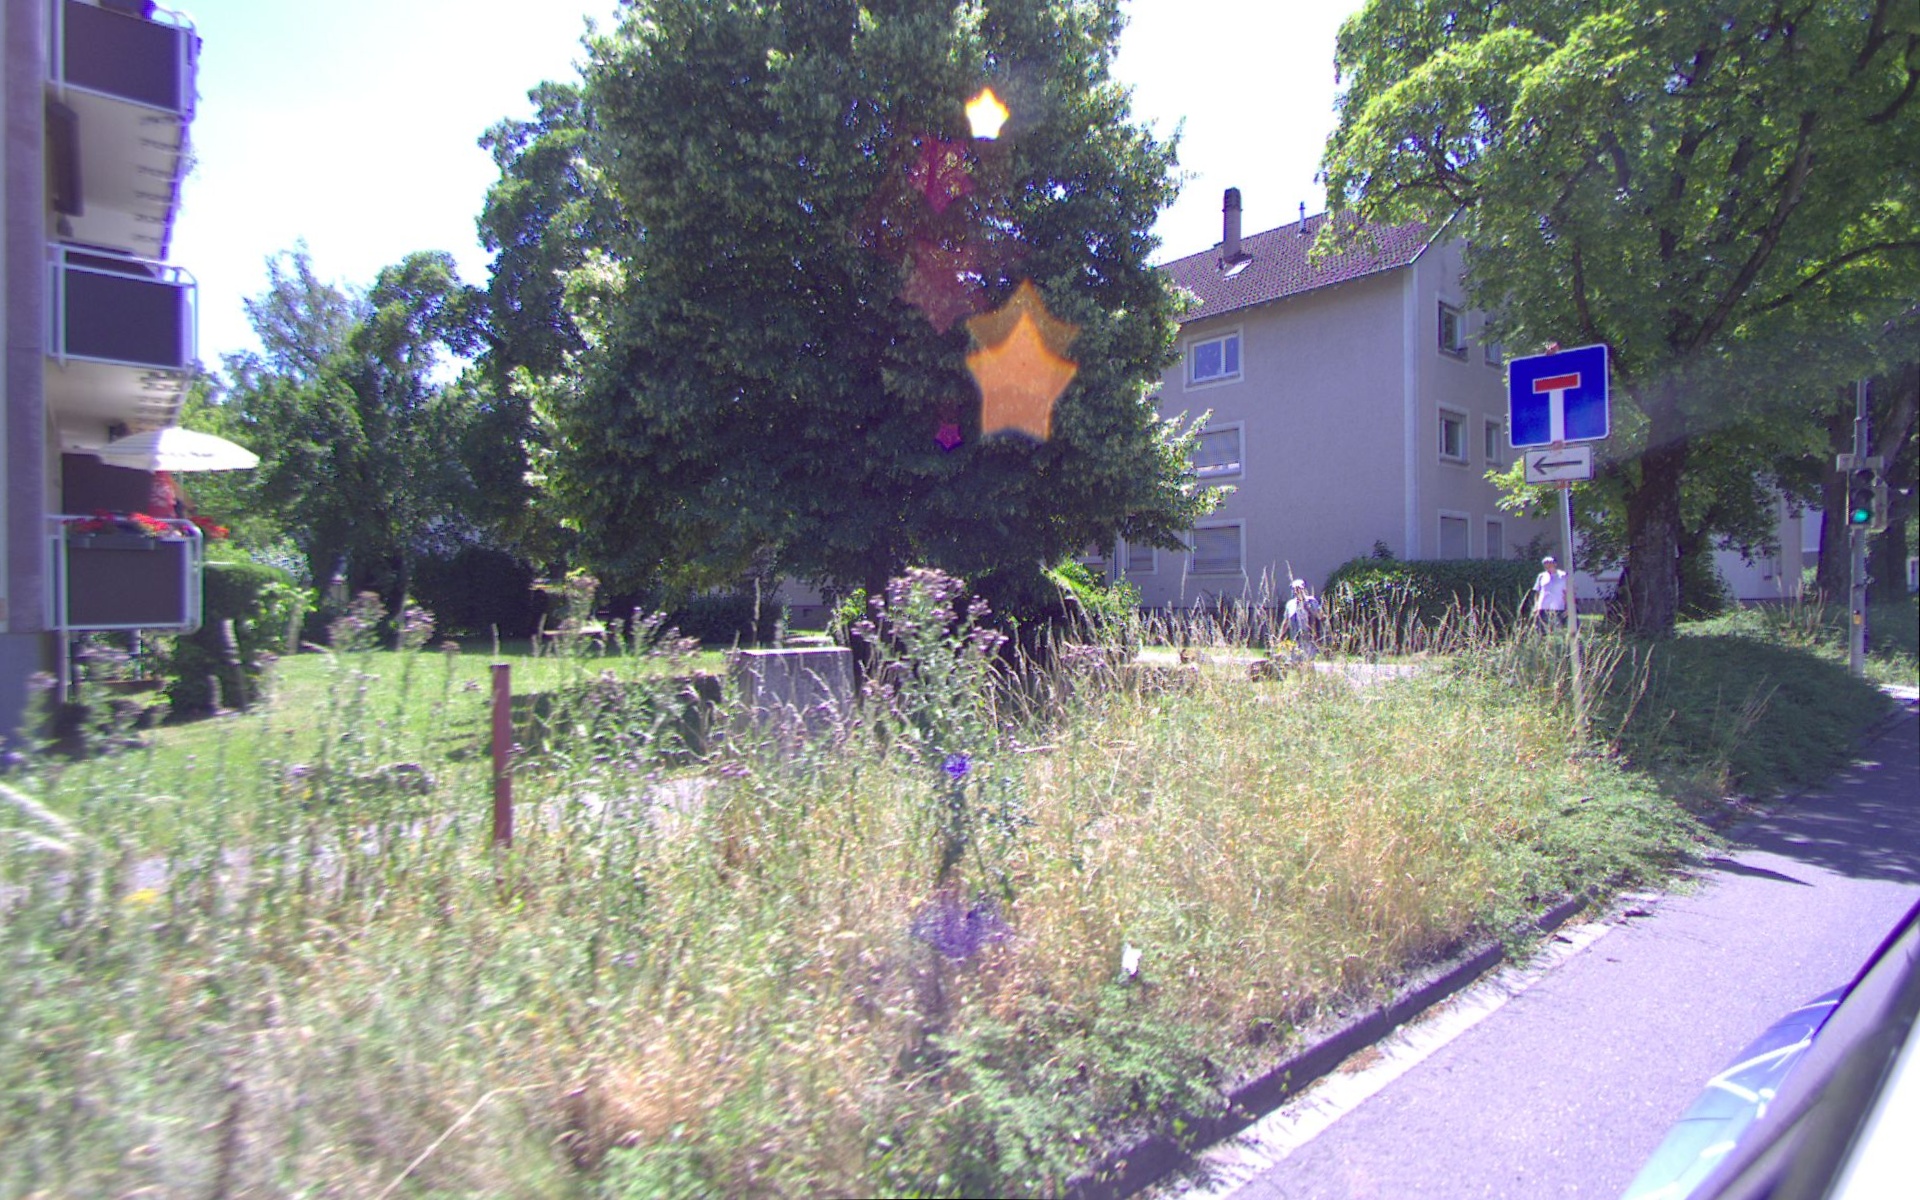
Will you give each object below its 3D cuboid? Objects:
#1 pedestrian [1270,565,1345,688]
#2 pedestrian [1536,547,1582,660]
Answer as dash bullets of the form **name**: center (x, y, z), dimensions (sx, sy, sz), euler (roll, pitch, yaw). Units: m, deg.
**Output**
- **pedestrian**: center (4.875, 0.347, 14.187), dimensions (0.718, 1.654, 0.838), euler (0, 1, 43)
- **pedestrian**: center (10.403, 0.042, 17.580), dimensions (0.669, 1.897, 0.893), euler (0, 1, 31)
